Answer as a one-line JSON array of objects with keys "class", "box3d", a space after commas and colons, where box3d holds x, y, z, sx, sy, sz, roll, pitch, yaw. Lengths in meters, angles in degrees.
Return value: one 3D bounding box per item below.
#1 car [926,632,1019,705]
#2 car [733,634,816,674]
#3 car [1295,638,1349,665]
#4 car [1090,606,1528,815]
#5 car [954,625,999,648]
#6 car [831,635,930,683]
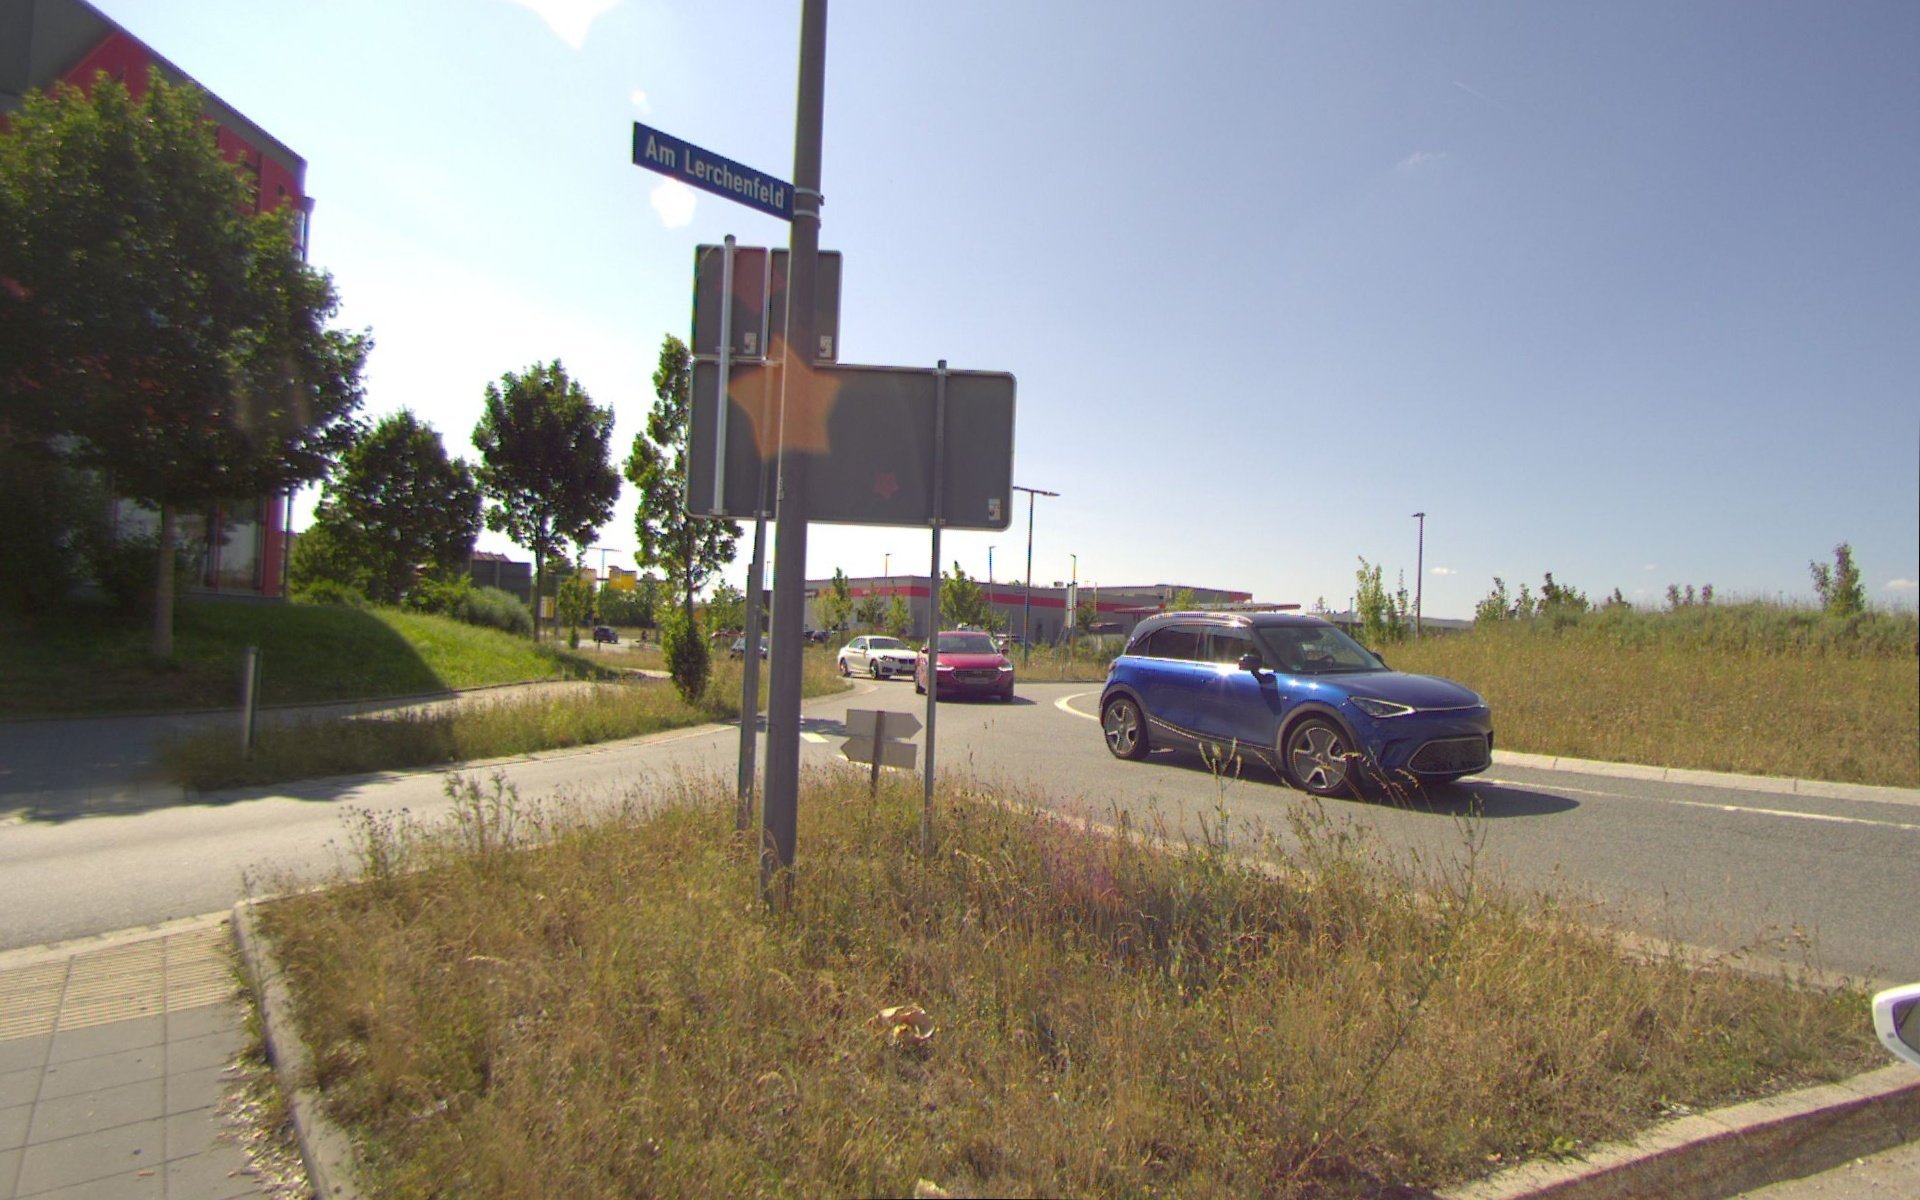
[{"class": "car", "box3d": [0.178, 1.460, 22.085, 1.773, 1.434, 4.117, 1, -2, -3]}, {"class": "car", "box3d": [-7.724, 2.197, 41.630, 1.632, 1.507, 3.858, 2, -2, -41]}, {"class": "car", "box3d": [30.263, 4.326, 83.872, 5.096, 2.040, 1.976, 4, -3, -41]}, {"class": "car", "box3d": [3.260, 0.925, 10.219, 1.834, 1.657, 4.050, 1, -1, -28]}, {"class": "car", "box3d": [1.590, 3.460, 94.967, 3.970, 2.040, 1.976, 4, -3, -42]}, {"class": "car", "box3d": [-2.715, 1.926, 33.431, 1.774, 1.434, 4.353, 3, -3, -26]}]
